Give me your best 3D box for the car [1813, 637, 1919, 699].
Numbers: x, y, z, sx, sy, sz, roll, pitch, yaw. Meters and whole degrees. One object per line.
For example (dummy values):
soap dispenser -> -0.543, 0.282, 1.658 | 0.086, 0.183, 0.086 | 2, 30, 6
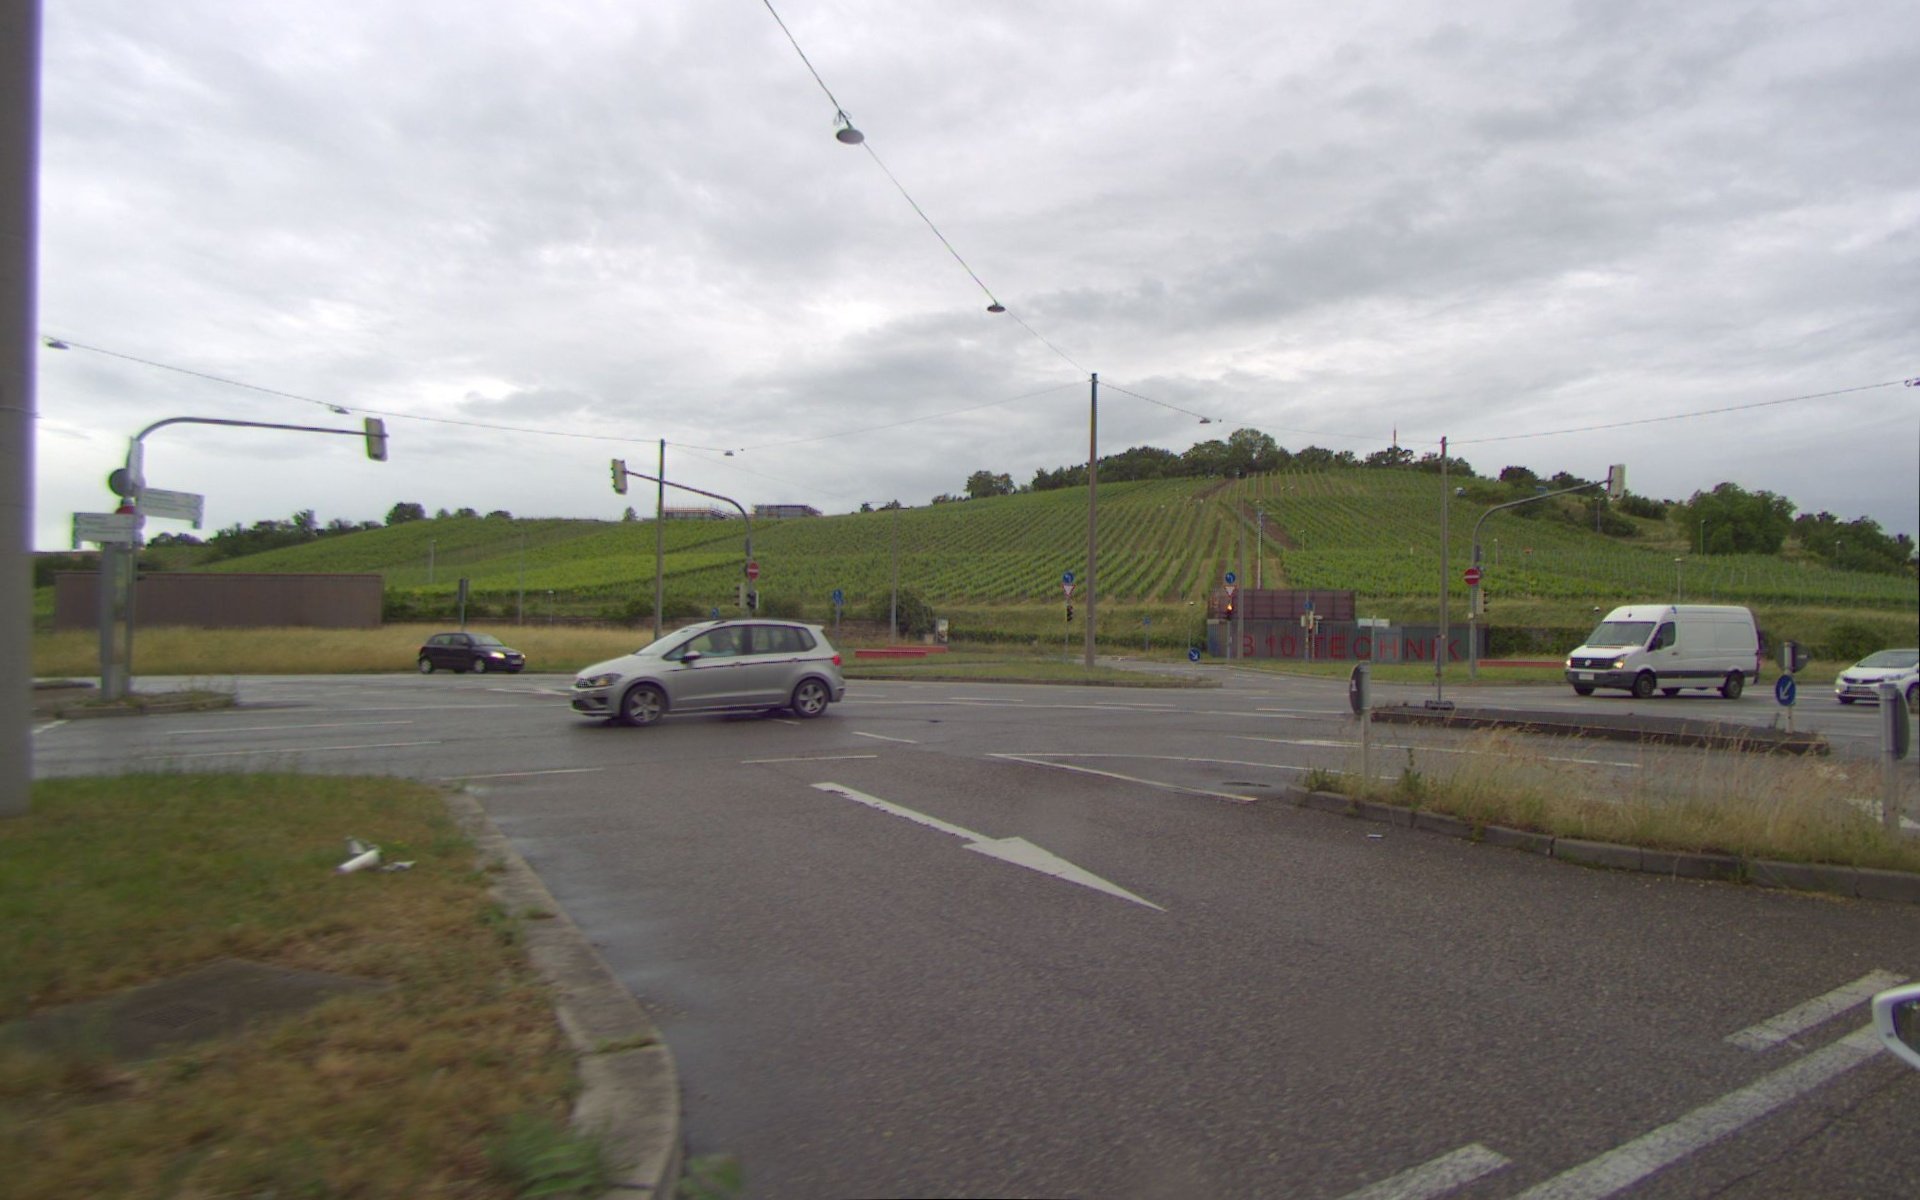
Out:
car -> 25.522, 1.846, 27.256 | 3.935, 1.533, 1.750 | 2, 0, -17

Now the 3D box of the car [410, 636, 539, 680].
car -> -17.058, 1.999, 35.324 | 3.920, 1.306, 1.800 | 2, 0, 18

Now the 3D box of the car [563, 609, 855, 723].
car -> -3.981, 0.984, 16.083 | 4.148, 1.596, 1.983 | 2, -1, -32

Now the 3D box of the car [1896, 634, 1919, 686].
car -> 33.261, 2.013, 32.900 | 4.435, 1.658, 1.775 | 2, 0, -16

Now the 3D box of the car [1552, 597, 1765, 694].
car -> 20.153, 1.318, 28.938 | 6.079, 2.593, 1.990 | 2, 0, -22
